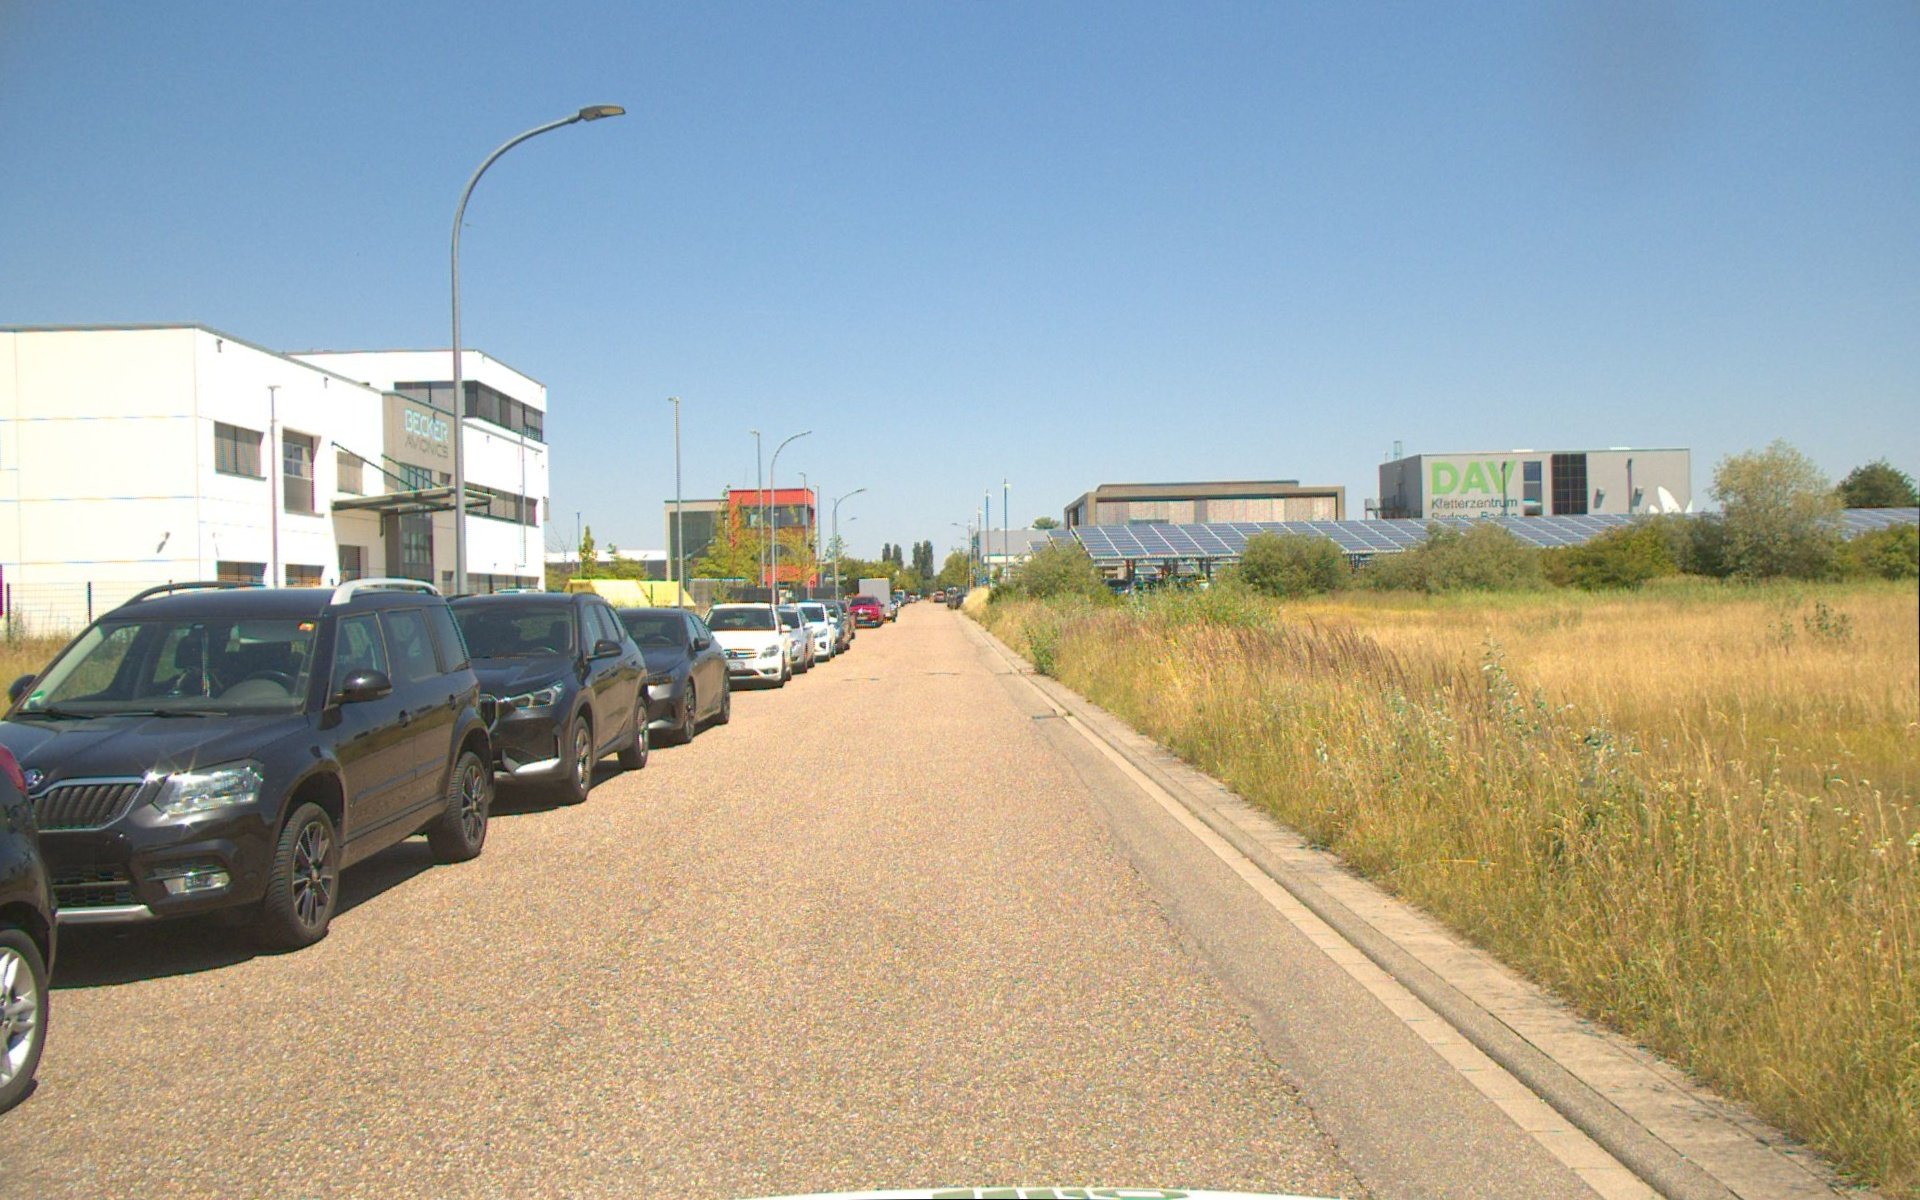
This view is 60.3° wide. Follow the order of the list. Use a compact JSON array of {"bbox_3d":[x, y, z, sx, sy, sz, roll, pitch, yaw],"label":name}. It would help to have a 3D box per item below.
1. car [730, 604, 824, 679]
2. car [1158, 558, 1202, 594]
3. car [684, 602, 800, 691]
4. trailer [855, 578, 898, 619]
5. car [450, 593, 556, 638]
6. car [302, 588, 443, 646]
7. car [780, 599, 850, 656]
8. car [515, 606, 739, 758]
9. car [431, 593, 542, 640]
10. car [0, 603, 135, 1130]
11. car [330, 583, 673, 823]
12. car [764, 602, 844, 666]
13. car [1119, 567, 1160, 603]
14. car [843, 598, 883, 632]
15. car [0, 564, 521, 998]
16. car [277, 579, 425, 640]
[{"bbox_3d":[-4.145,0.911,38.027,1.750,1.547,3.982,-2,0,-1],"label":"car"},{"bbox_3d":[13.314,-1.457,100.306,1.953,2.049,3.999,-2,0,-1],"label":"car"},{"bbox_3d":[-4.154,0.846,32.075,1.750,1.547,3.982,-2,0,-1],"label":"car"},{"bbox_3d":[-4.619,-0.066,92.252,2.156,2.175,4.284,-2,0,-1],"label":"trailer"},{"bbox_3d":[-21.751,0.745,78.822,4.436,1.977,2.031,-2,0,-1],"label":"car"},{"bbox_3d":[-21.685,0.608,61.139,4.436,1.977,2.031,-2,0,-1],"label":"car"},{"bbox_3d":[-4.258,0.791,49.022,1.750,1.547,3.982,-2,0,-1],"label":"car"},{"bbox_3d":[-3.866,0.876,20.052,1.733,1.512,5.013,-2,0,-1],"label":"car"},{"bbox_3d":[-21.704,0.736,75.954,4.436,1.977,2.031,-2,0,-1],"label":"car"},{"bbox_3d":[-3.559,0.803,3.655,1.558,1.518,3.832,-2,0,-1],"label":"car"},{"bbox_3d":[-3.736,0.741,14.348,1.733,1.692,4.551,-2,0,-1],"label":"car"},{"bbox_3d":[-4.092,0.869,43.852,1.750,1.547,3.982,-2,0,-1],"label":"car"},{"bbox_3d":[10.861,-0.884,100.354,1.953,2.049,3.999,-2,0,-1],"label":"car"},{"bbox_3d":[-4.712,0.710,80.688,1.750,1.547,3.981,-2,0,-1],"label":"car"},{"bbox_3d":[-3.687,0.721,8.694,1.643,1.692,4.235,-2,0,-1],"label":"car"},{"bbox_3d":[-21.544,0.347,58.612,4.436,1.977,2.031,-2,0,-1],"label":"car"}]
